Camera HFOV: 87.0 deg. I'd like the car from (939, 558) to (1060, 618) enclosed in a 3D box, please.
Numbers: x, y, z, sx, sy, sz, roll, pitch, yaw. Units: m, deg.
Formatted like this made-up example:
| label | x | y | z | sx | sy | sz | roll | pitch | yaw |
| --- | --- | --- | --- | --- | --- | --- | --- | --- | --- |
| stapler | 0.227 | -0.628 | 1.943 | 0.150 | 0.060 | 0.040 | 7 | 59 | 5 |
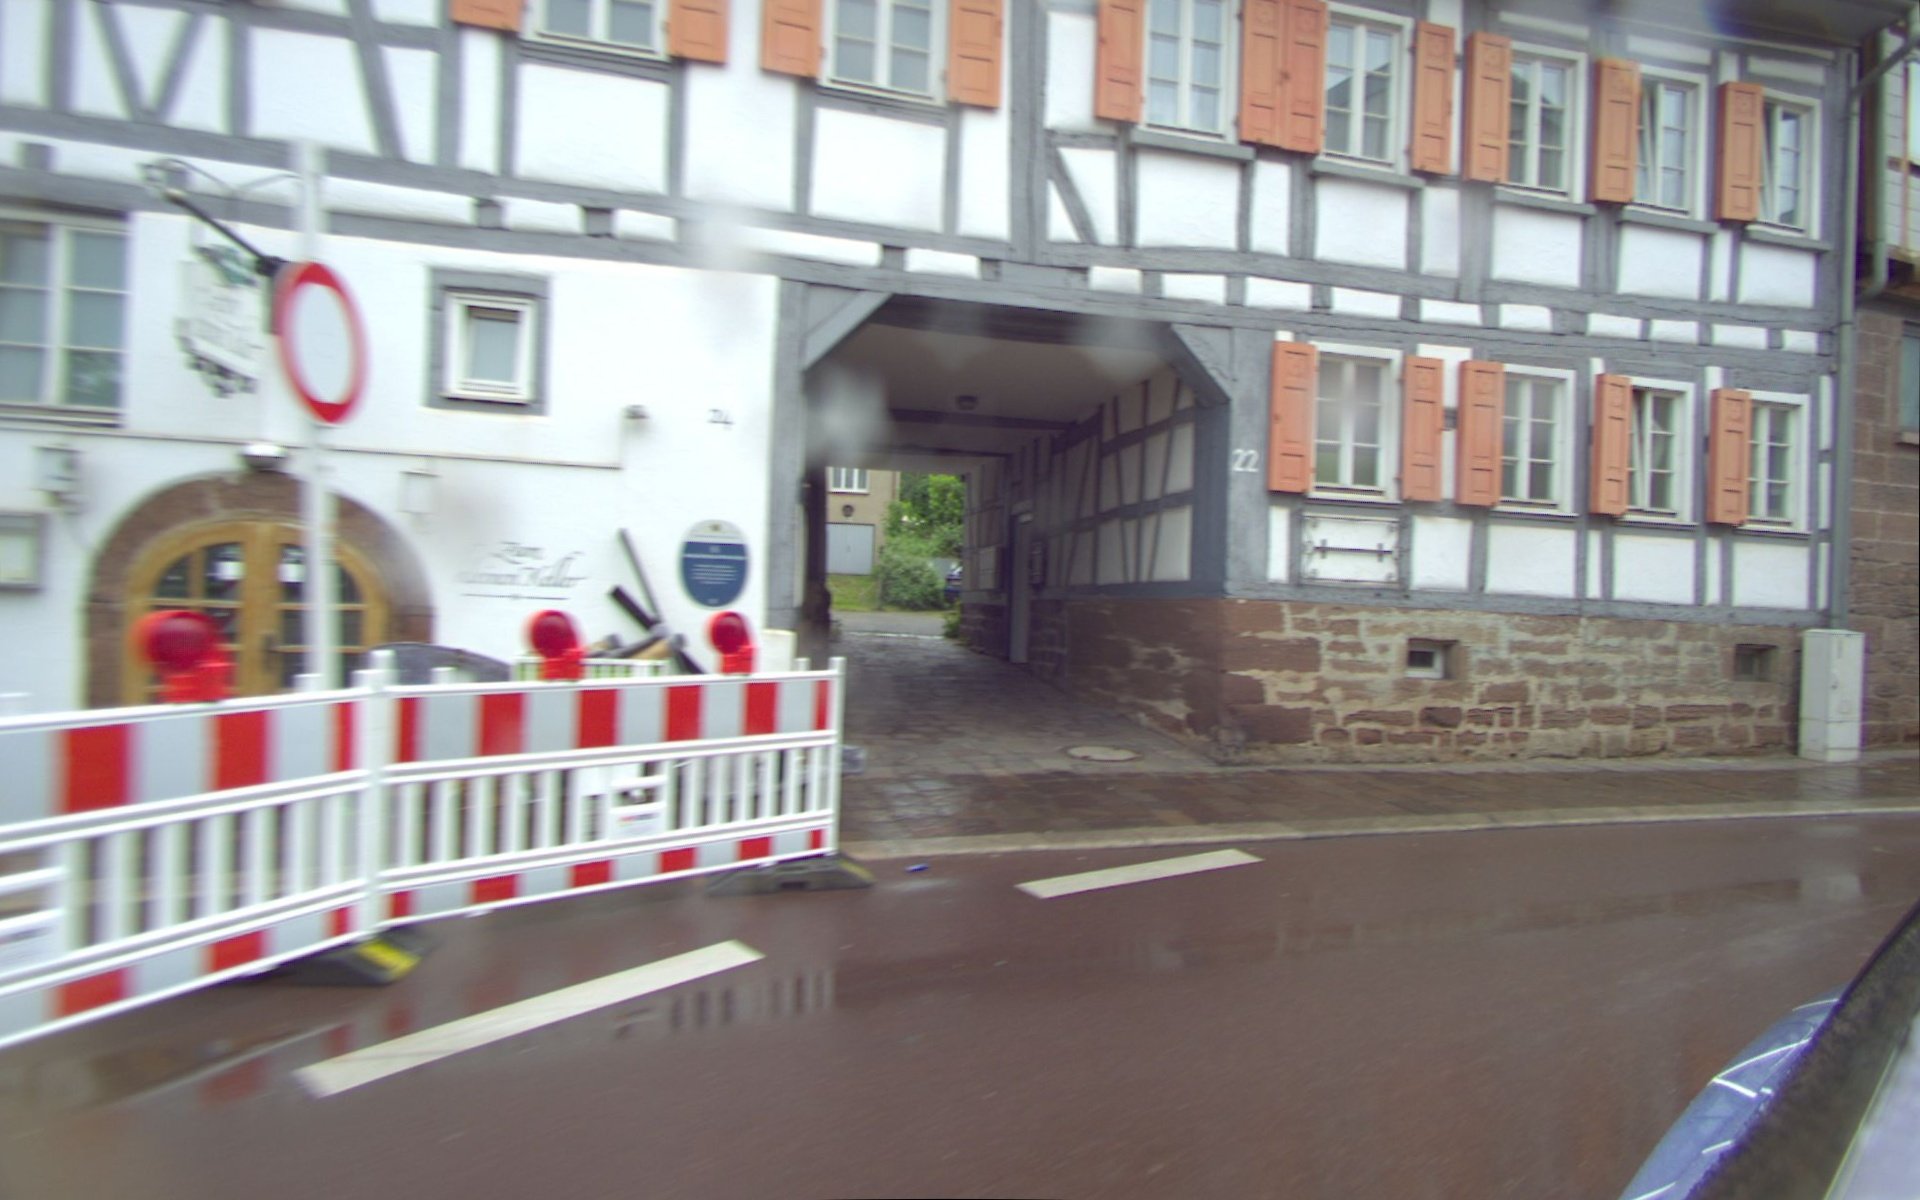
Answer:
| label | x | y | z | sx | sy | sz | roll | pitch | yaw |
| --- | --- | --- | --- | --- | --- | --- | --- | --- | --- |
| car | 0.981 | -0.313 | 25.930 | 2.926 | 1.469 | 1.414 | 0 | 0 | -5 |
